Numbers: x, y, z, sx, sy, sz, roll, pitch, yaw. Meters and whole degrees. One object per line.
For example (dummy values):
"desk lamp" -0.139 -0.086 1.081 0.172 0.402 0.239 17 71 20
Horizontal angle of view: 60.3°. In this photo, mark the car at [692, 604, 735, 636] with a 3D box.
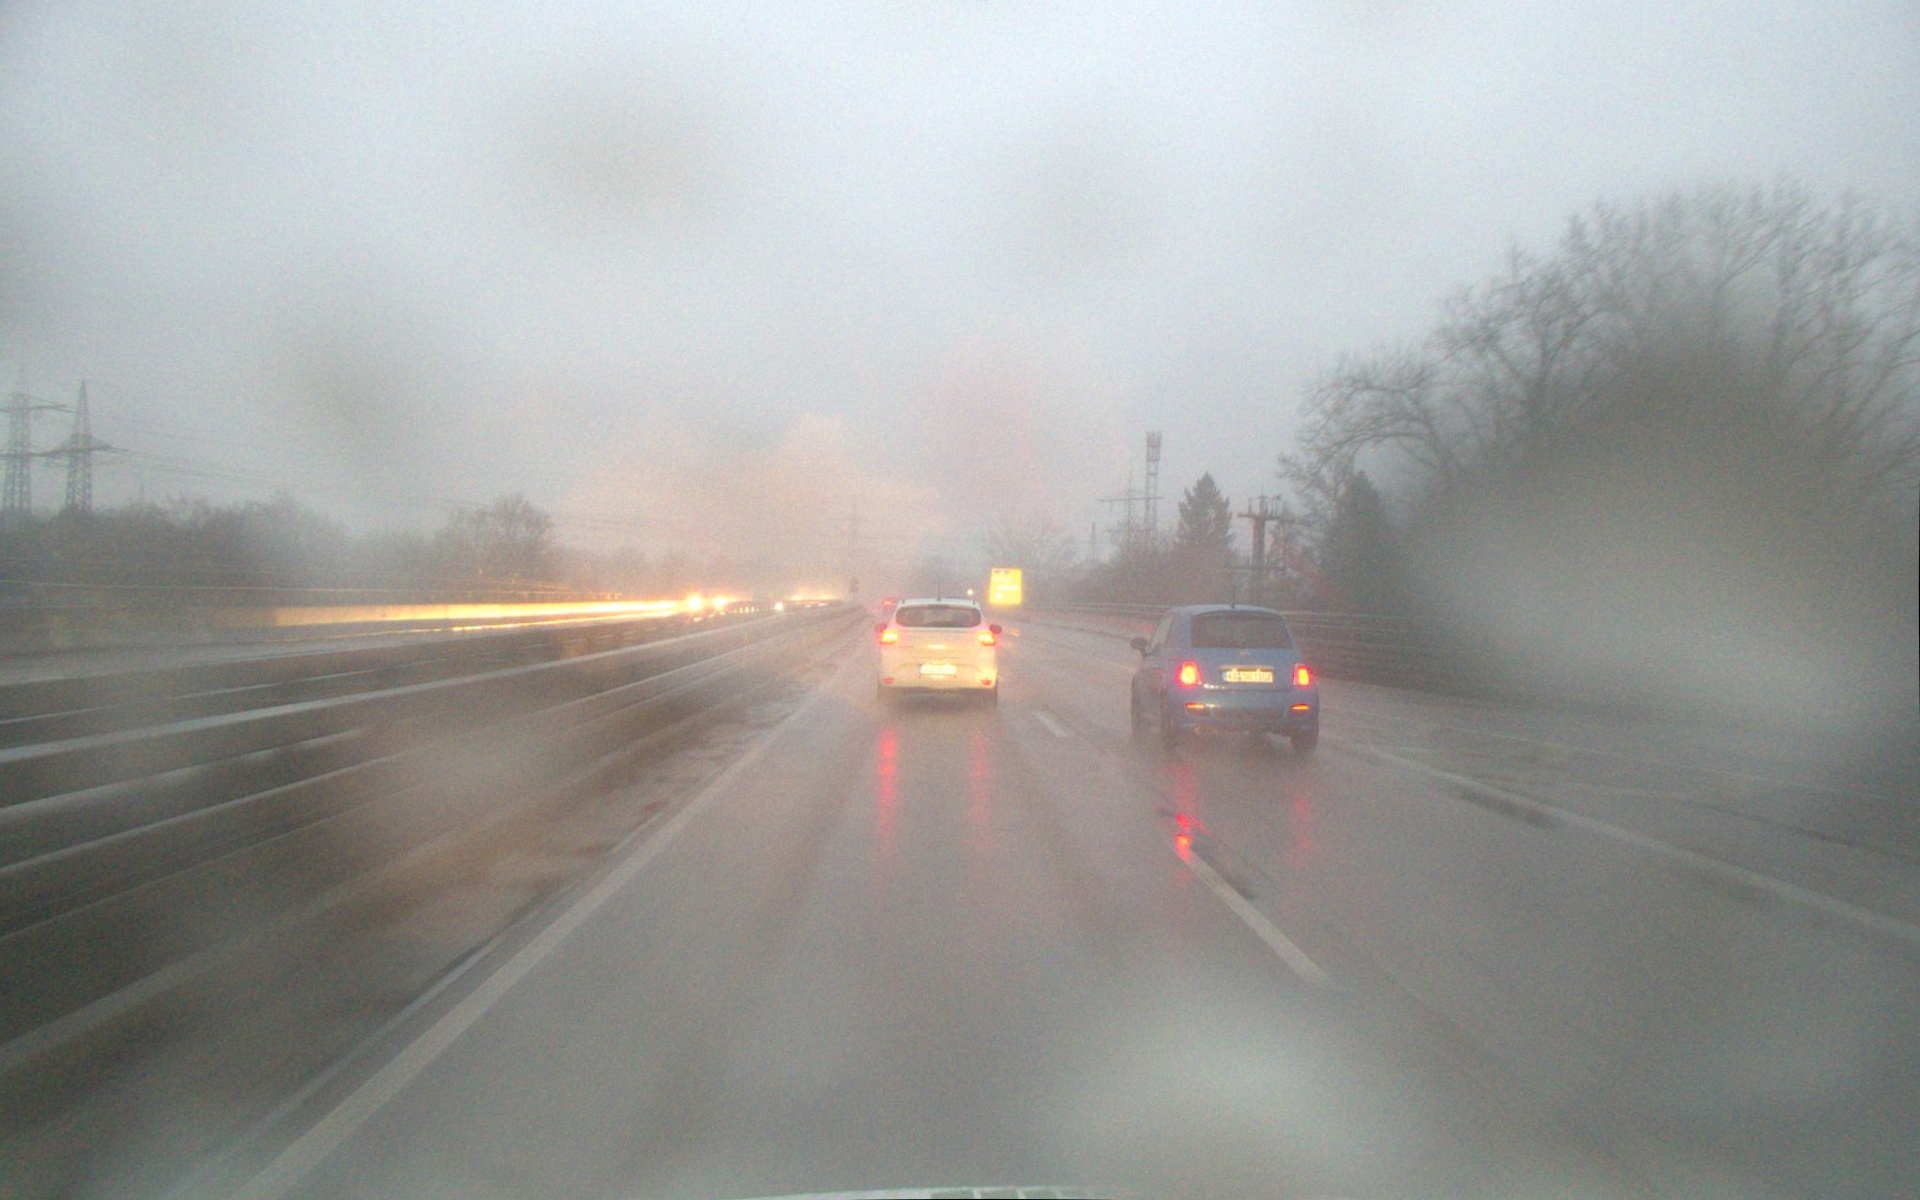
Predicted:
"car" -13.127 1.051 88.255 1.818 1.593 3.920 1 1 -2

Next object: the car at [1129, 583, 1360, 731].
"car" 3.141 0.570 19.080 1.808 1.479 4.147 1 1 -2

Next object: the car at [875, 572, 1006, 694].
"car" -0.357 0.444 24.998 1.809 1.664 3.766 1 0 -3
